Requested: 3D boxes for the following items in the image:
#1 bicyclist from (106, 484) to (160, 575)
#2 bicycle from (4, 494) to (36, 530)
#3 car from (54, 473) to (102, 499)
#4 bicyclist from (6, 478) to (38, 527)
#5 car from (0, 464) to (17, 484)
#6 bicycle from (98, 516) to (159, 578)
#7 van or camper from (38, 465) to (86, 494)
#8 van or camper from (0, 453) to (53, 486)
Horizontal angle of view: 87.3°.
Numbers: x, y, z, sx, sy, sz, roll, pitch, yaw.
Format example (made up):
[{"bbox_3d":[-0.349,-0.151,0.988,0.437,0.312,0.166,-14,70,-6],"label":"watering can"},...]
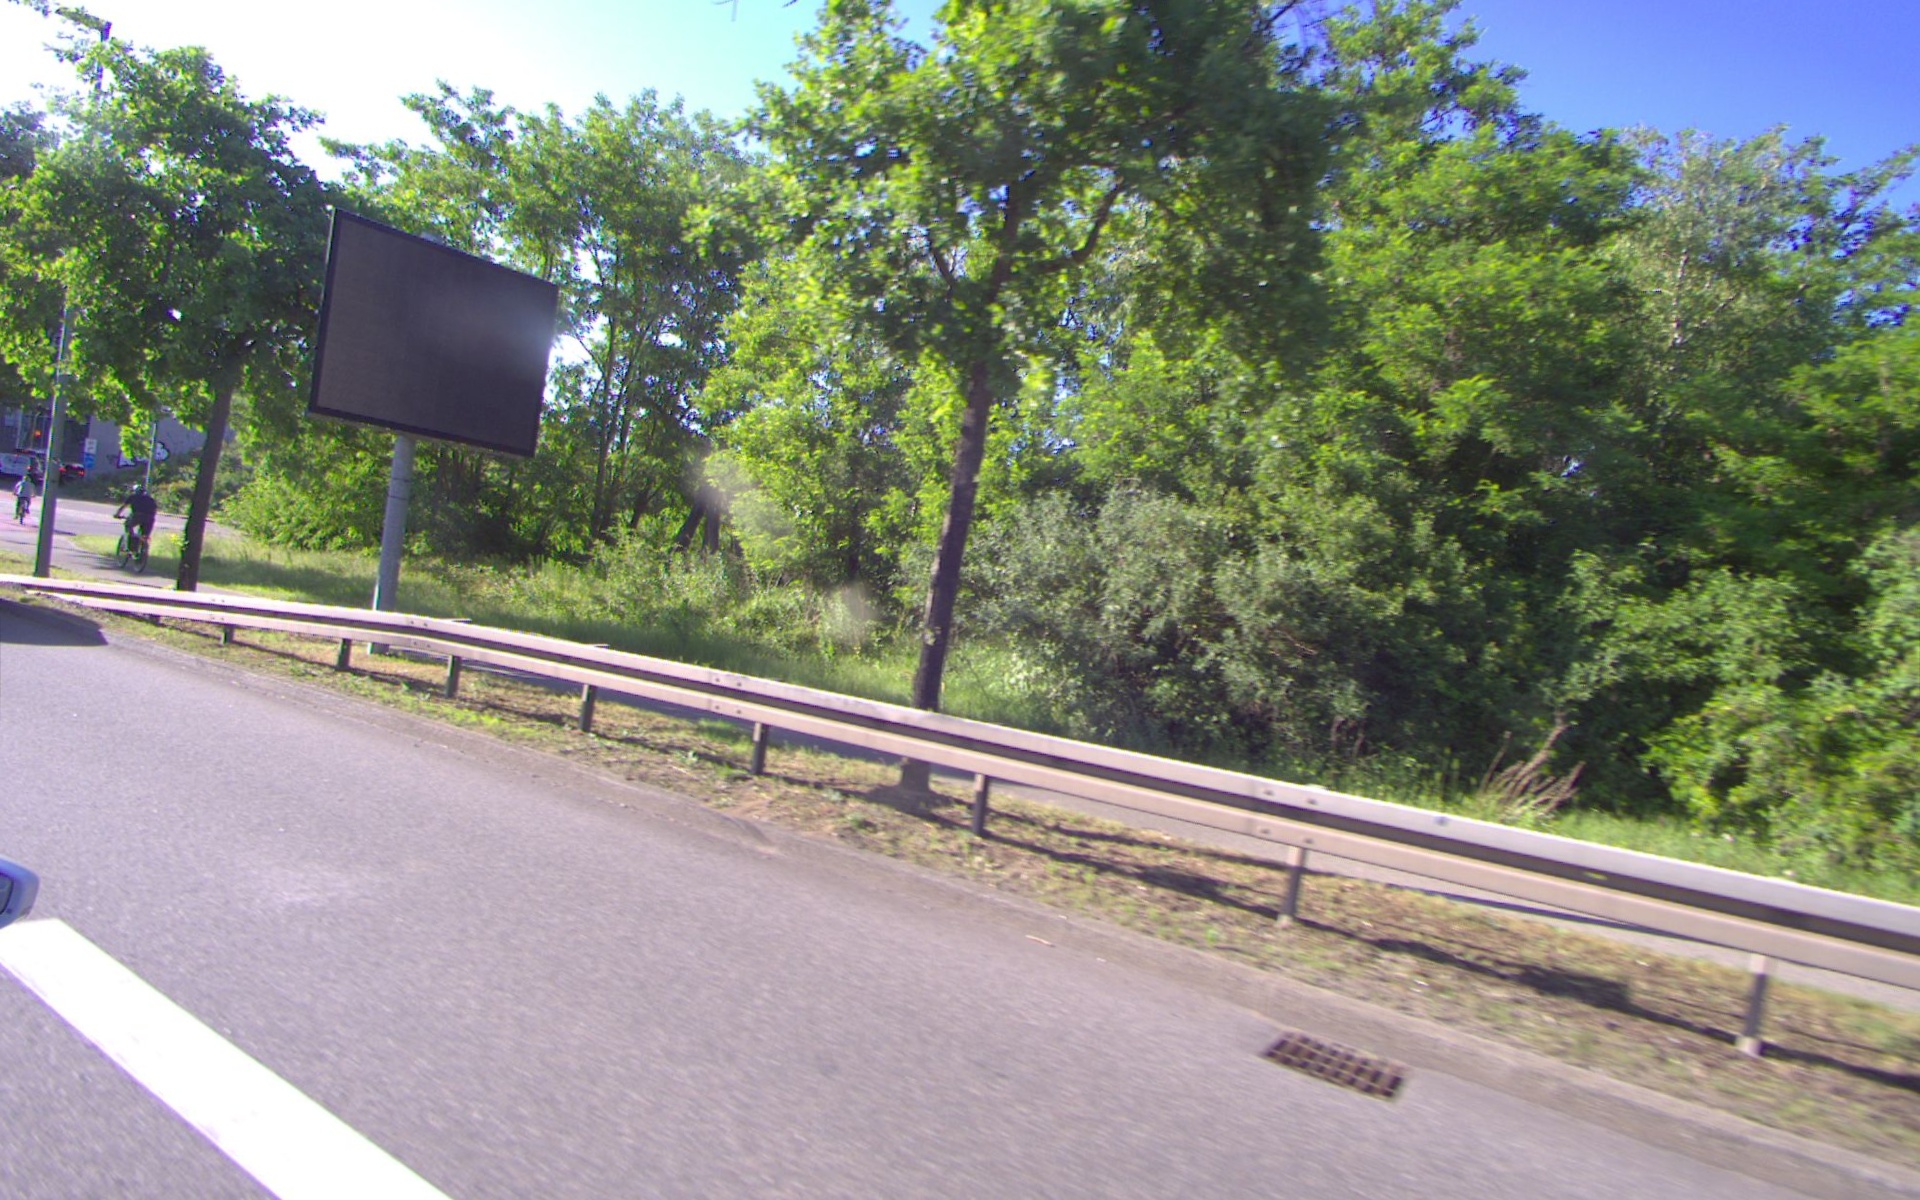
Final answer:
[{"bbox_3d":[-17.510,-1.500,21.294,0.935,1.800,0.673,9,3,43],"label":"bicyclist"},{"bbox_3d":[-34.147,-3.204,36.553,0.740,1.127,2.422,5,2,-42],"label":"bicycle"},{"bbox_3d":[-69.353,-8.945,79.142,1.693,1.541,3.718,9,0,-25],"label":"car"},{"bbox_3d":[-34.105,-3.542,36.573,0.742,1.640,0.902,5,3,-42],"label":"bicyclist"},{"bbox_3d":[-76.608,-10.108,79.603,1.693,1.470,3.718,9,0,-25],"label":"car"},{"bbox_3d":[-17.807,-1.153,21.530,2.089,1.109,0.693,8,3,43],"label":"bicycle"},{"bbox_3d":[-73.867,-9.895,82.802,1.739,1.835,3.933,9,0,-25],"label":"van or camper"},{"bbox_3d":[-65.050,-9.032,69.876,1.812,1.812,4.509,9,0,-29],"label":"van or camper"}]
